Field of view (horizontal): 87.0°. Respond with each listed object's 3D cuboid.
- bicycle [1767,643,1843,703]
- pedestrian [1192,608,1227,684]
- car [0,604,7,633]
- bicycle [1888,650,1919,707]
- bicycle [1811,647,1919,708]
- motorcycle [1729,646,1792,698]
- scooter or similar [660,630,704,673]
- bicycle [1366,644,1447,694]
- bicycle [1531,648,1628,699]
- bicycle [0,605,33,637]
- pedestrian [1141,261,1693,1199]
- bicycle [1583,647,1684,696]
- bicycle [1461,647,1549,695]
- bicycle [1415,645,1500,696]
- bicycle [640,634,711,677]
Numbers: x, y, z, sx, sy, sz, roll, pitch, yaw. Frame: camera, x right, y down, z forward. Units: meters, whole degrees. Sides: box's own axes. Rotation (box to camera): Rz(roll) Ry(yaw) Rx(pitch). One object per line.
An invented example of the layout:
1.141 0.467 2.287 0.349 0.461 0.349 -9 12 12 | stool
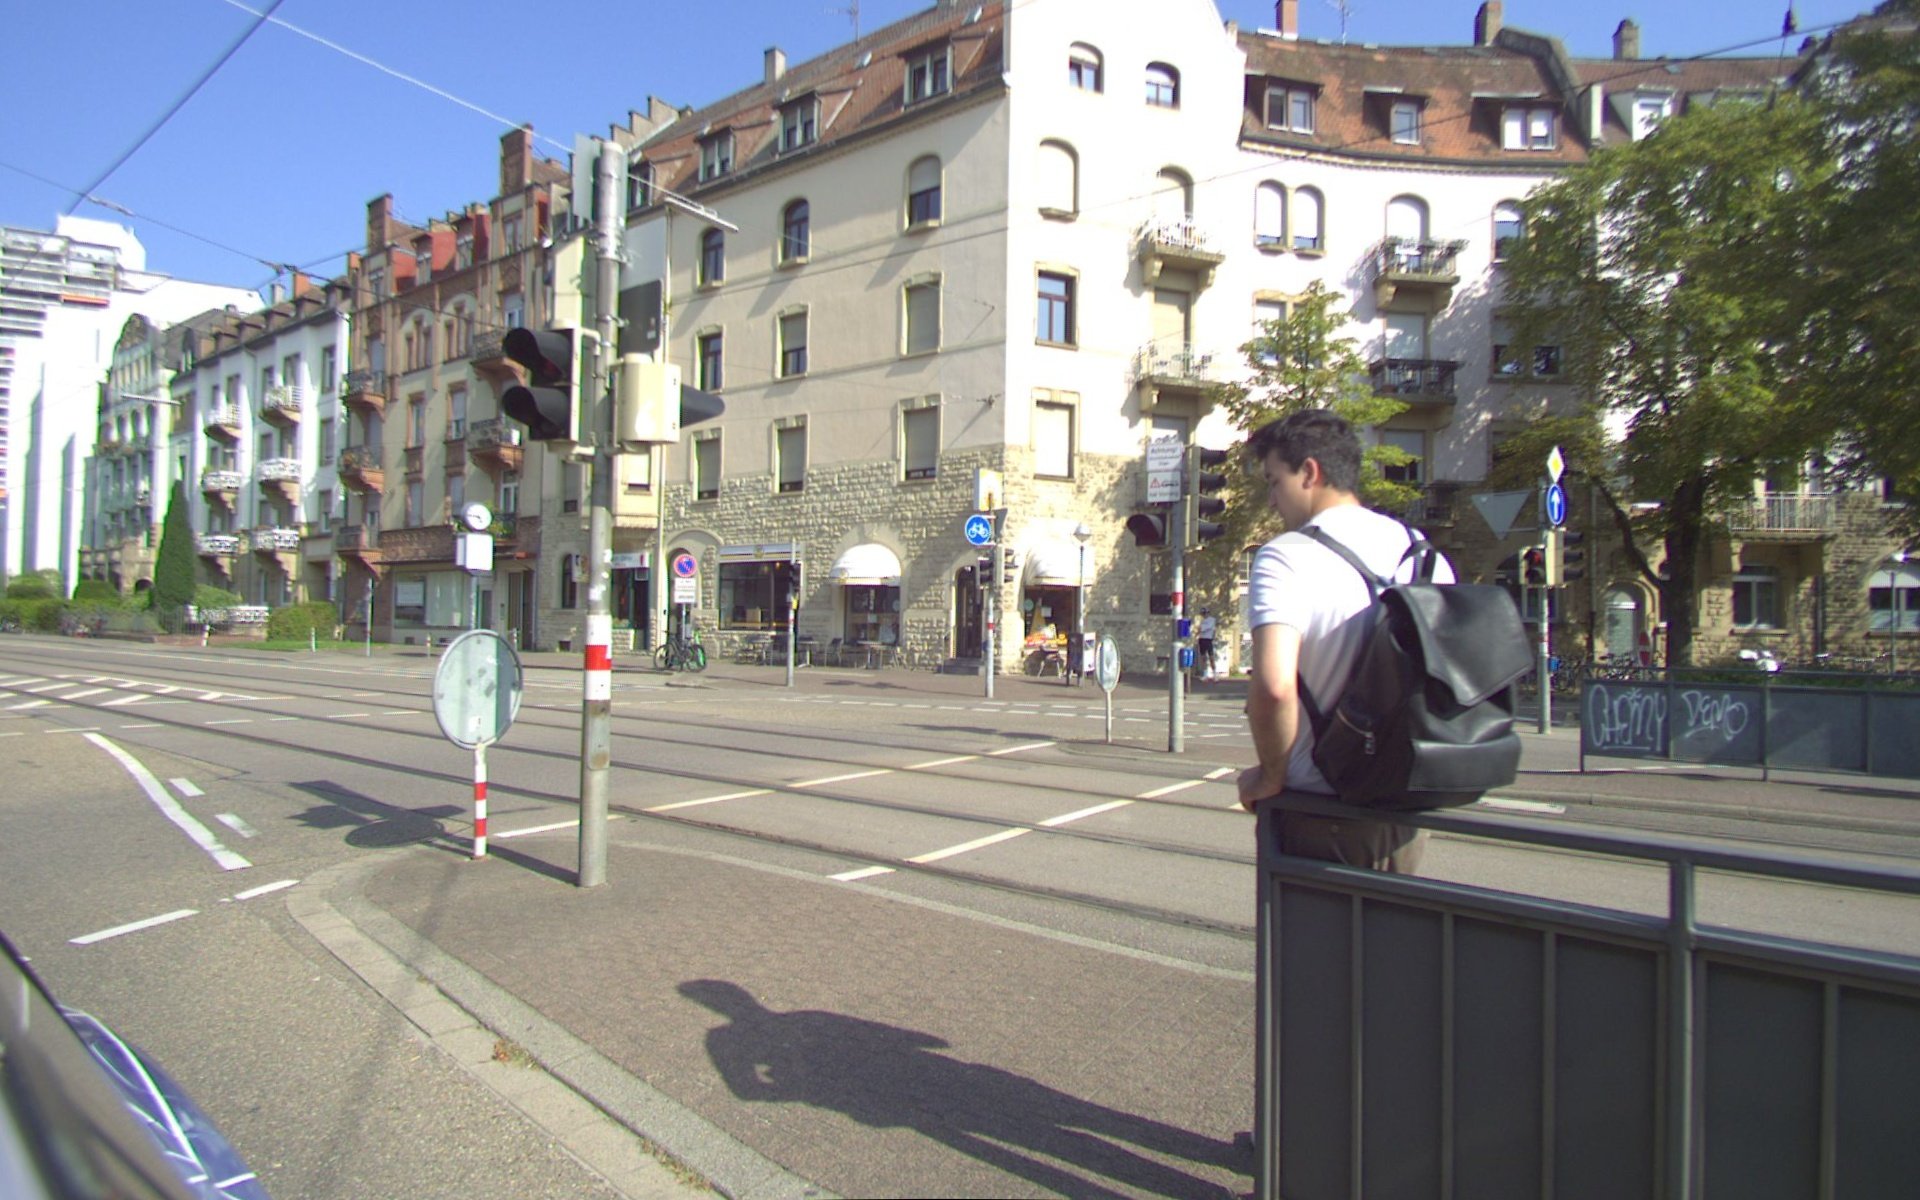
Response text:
20.932 1.779 25.127 0.862 1.381 2.284 0 -2 24 | bicycle
6.355 1.160 25.795 0.671 1.882 0.727 0 -2 32 | pedestrian
-68.152 1.248 69.197 1.977 2.029 3.988 1 -2 9 | car
23.767 1.917 24.388 0.857 1.381 2.298 1 -2 7 | bicycle
22.245 1.876 24.889 0.857 1.381 2.298 1 -2 7 | bicycle
20.044 1.781 25.385 0.673 1.186 1.871 0 -1 20 | motorcycle
-7.664 1.410 27.954 1.079 1.167 0.442 1 -2 -1 | scooter or similar
10.911 1.661 24.835 0.686 1.087 2.345 1 -1 -7 | bicycle
15.034 1.756 24.650 0.686 1.087 2.345 1 -1 -7 | bicycle
-56.672 1.227 60.409 3.542 1.872 1.005 0 0 30 | bicycle
0.890 0.418 1.950 0.737 1.783 0.722 -4 -2 39 | pedestrian
16.504 1.736 24.868 0.686 1.087 2.345 1 -2 -7 | bicycle
13.574 1.743 25.288 0.686 1.087 2.345 1 -2 -7 | bicycle
12.110 1.685 24.723 0.686 1.087 2.345 1 -1 -7 | bicycle
-7.644 1.477 27.179 1.884 1.112 0.541 0 -2 23 | bicycle
